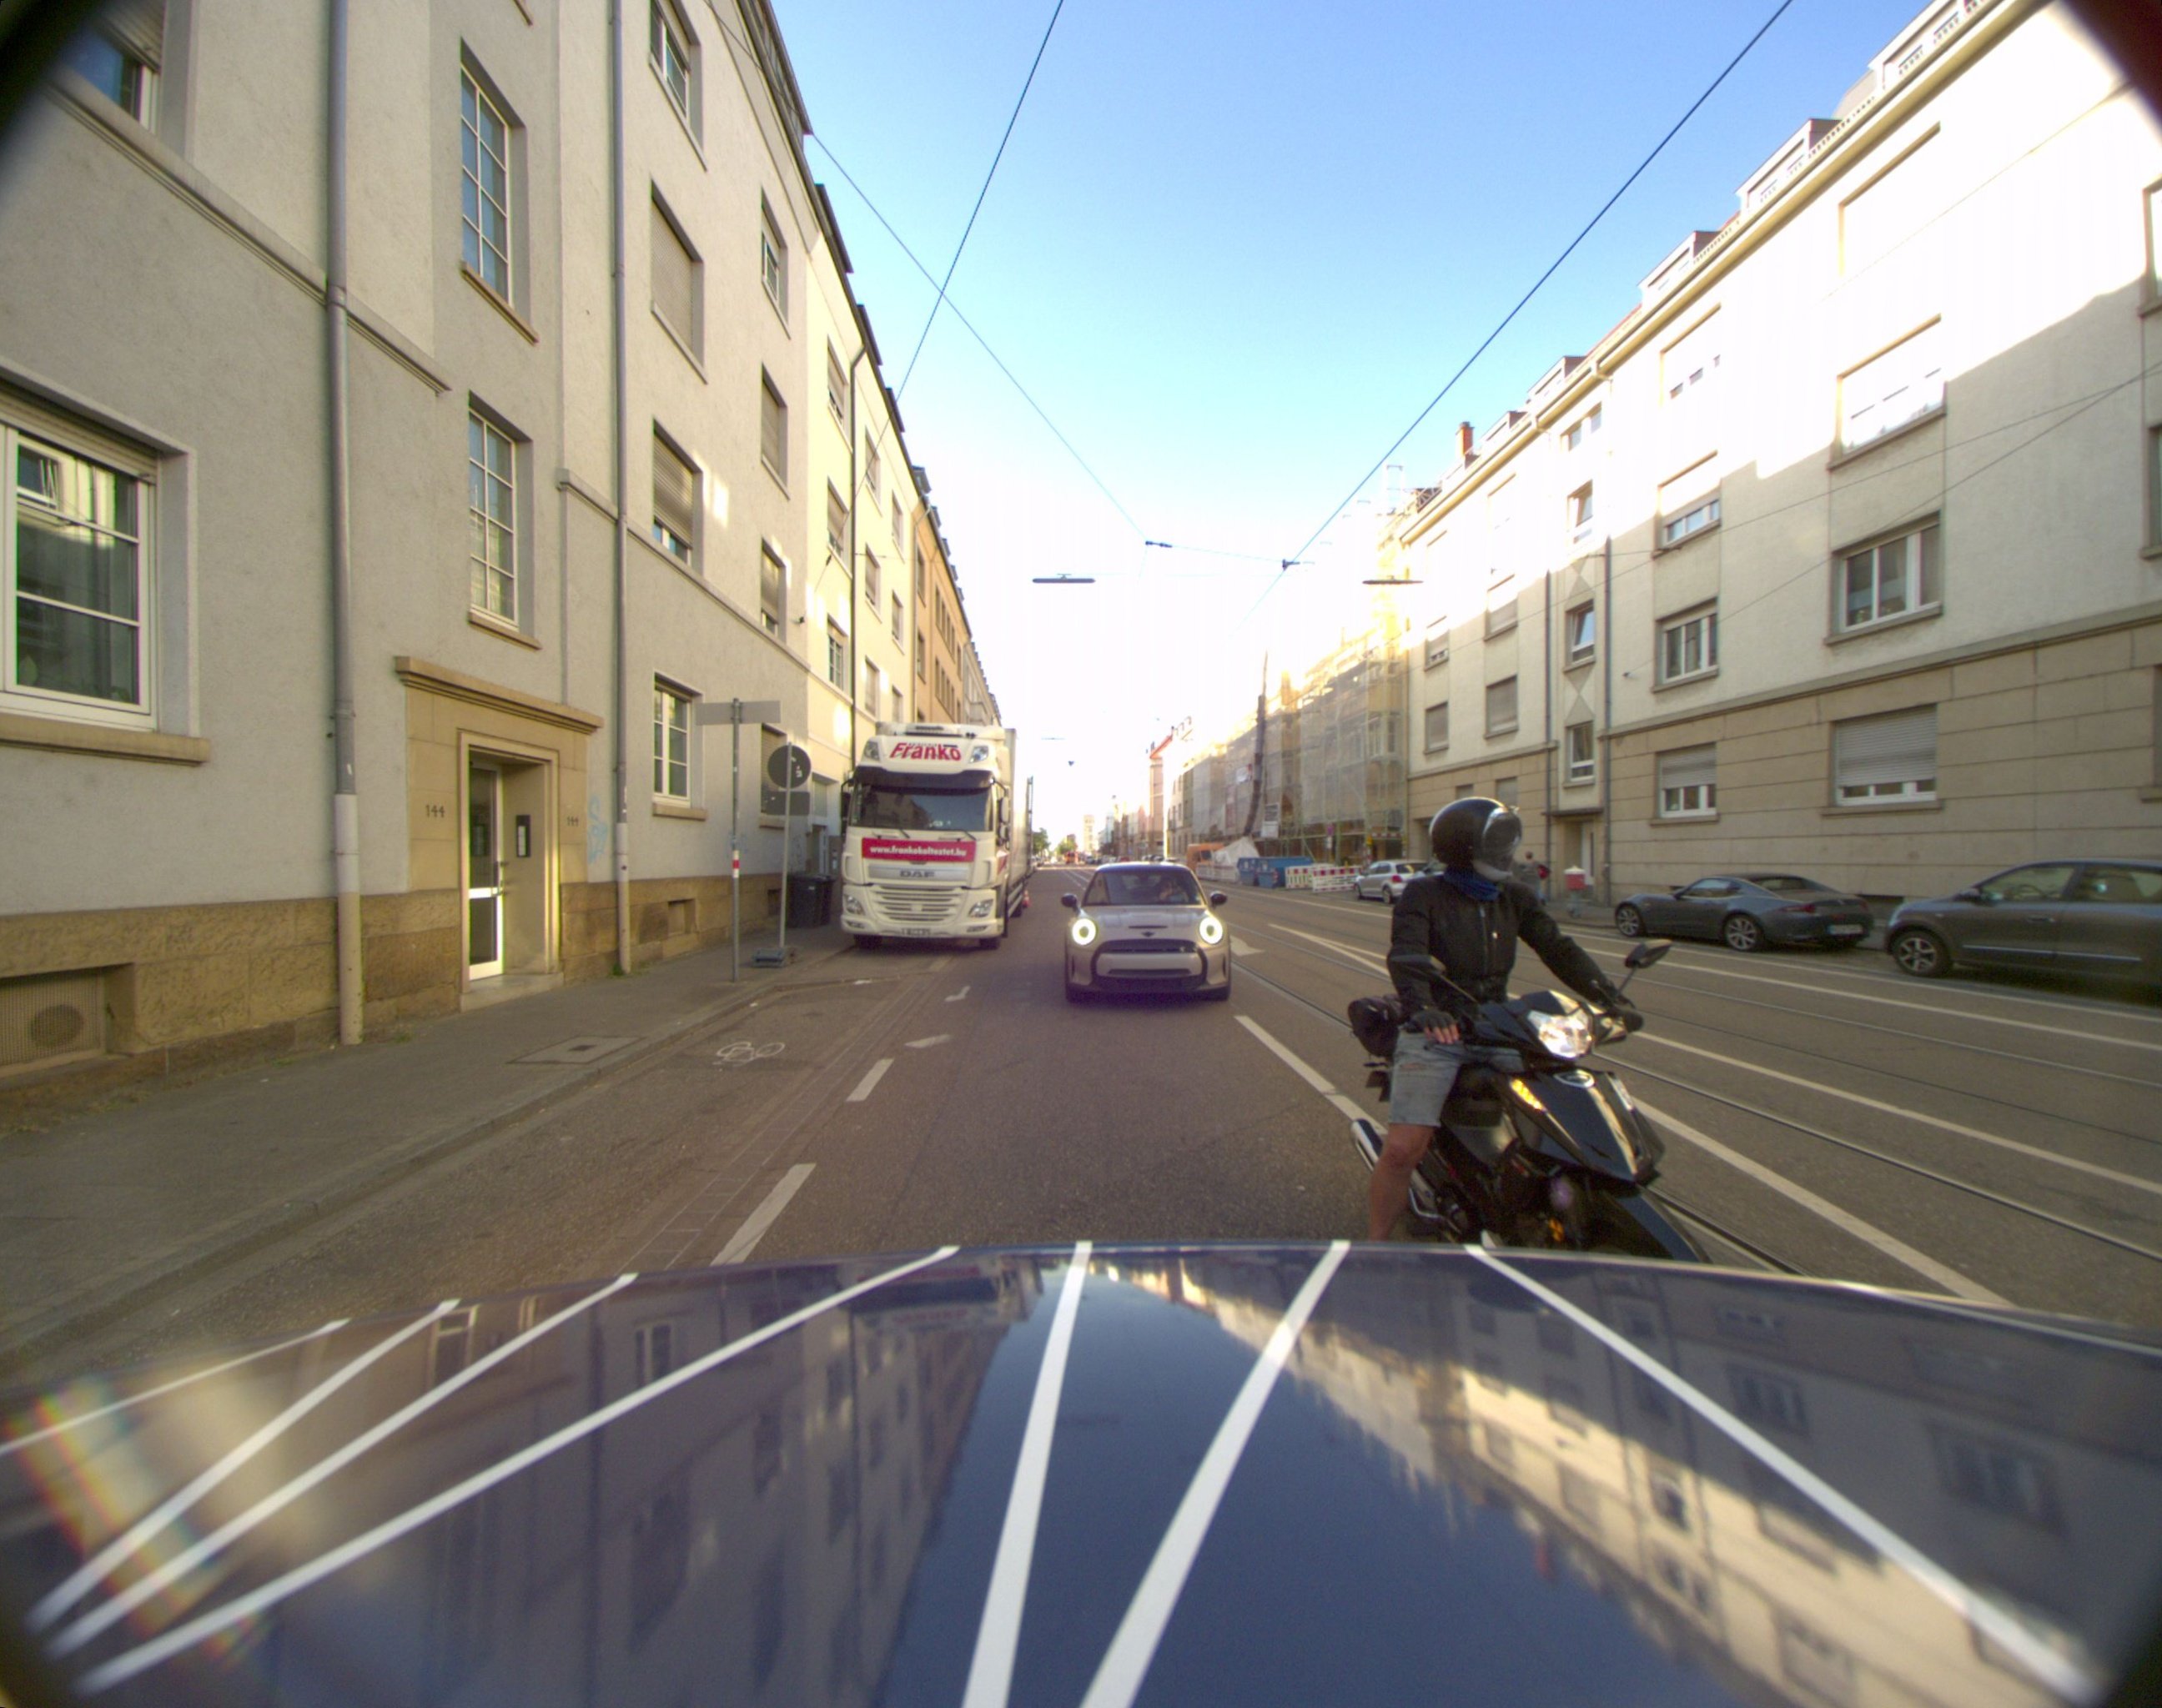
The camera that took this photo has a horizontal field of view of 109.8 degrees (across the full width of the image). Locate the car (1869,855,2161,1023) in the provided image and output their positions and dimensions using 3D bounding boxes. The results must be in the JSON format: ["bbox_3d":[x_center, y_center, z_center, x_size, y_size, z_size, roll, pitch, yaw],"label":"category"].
[{"bbox_3d":[11.405,0.841,8.404,1.670,1.563,3.496,-2,1,-2],"label":"car"}]

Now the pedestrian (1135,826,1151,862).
[{"bbox_3d":[7.731,-1.281,94.371,1.723,4.377,1.153,-2,1,2],"label":"pedestrian"}]

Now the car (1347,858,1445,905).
[{"bbox_3d":[10.631,0.872,25.879,1.637,1.383,3.643,-2,1,-3],"label":"car"}]

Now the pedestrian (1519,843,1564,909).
[{"bbox_3d":[12.732,0.588,21.034,0.751,1.753,0.776,-2,1,1],"label":"pedestrian"}]

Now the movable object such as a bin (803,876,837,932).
[{"bbox_3d":[-5.346,1.010,15.571,0.512,1.085,0.495,-2,1,-4],"label":"movable object such as a bin"}]

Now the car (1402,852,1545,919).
[{"bbox_3d":[10.816,0.794,21.293,1.712,1.582,4.112,-2,1,-3],"label":"car"}]

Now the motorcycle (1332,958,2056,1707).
[{"bbox_3d":[1.345,1.067,2.243,0.538,1.212,1.981,-2,1,1],"label":"motorcycle"}]

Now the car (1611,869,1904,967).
[{"bbox_3d":[11.185,0.977,12.919,1.751,1.269,3.488,-2,1,-4],"label":"car"}]

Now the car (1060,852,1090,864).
[{"bbox_3d":[-0.805,0.549,104.457,3.998,1.468,2.149,-2,1,-2],"label":"car"}]

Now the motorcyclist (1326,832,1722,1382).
[{"bbox_3d":[1.318,0.701,2.390,0.862,1.496,0.598,-2,1,1],"label":"motorcyclist"}]

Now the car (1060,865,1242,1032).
[{"bbox_3d":[0.651,0.909,9.089,1.692,1.495,4.000,0,0,0],"label":"car"}]

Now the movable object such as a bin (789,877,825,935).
[{"bbox_3d":[-5.406,1.013,15.013,0.512,1.085,0.495,-2,1,-4],"label":"movable object such as a bin"}]

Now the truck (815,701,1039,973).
[{"bbox_3d":[-2.610,-0.251,17.150,2.899,3.939,11.704,-2,0,-2],"label":"truck"}]
